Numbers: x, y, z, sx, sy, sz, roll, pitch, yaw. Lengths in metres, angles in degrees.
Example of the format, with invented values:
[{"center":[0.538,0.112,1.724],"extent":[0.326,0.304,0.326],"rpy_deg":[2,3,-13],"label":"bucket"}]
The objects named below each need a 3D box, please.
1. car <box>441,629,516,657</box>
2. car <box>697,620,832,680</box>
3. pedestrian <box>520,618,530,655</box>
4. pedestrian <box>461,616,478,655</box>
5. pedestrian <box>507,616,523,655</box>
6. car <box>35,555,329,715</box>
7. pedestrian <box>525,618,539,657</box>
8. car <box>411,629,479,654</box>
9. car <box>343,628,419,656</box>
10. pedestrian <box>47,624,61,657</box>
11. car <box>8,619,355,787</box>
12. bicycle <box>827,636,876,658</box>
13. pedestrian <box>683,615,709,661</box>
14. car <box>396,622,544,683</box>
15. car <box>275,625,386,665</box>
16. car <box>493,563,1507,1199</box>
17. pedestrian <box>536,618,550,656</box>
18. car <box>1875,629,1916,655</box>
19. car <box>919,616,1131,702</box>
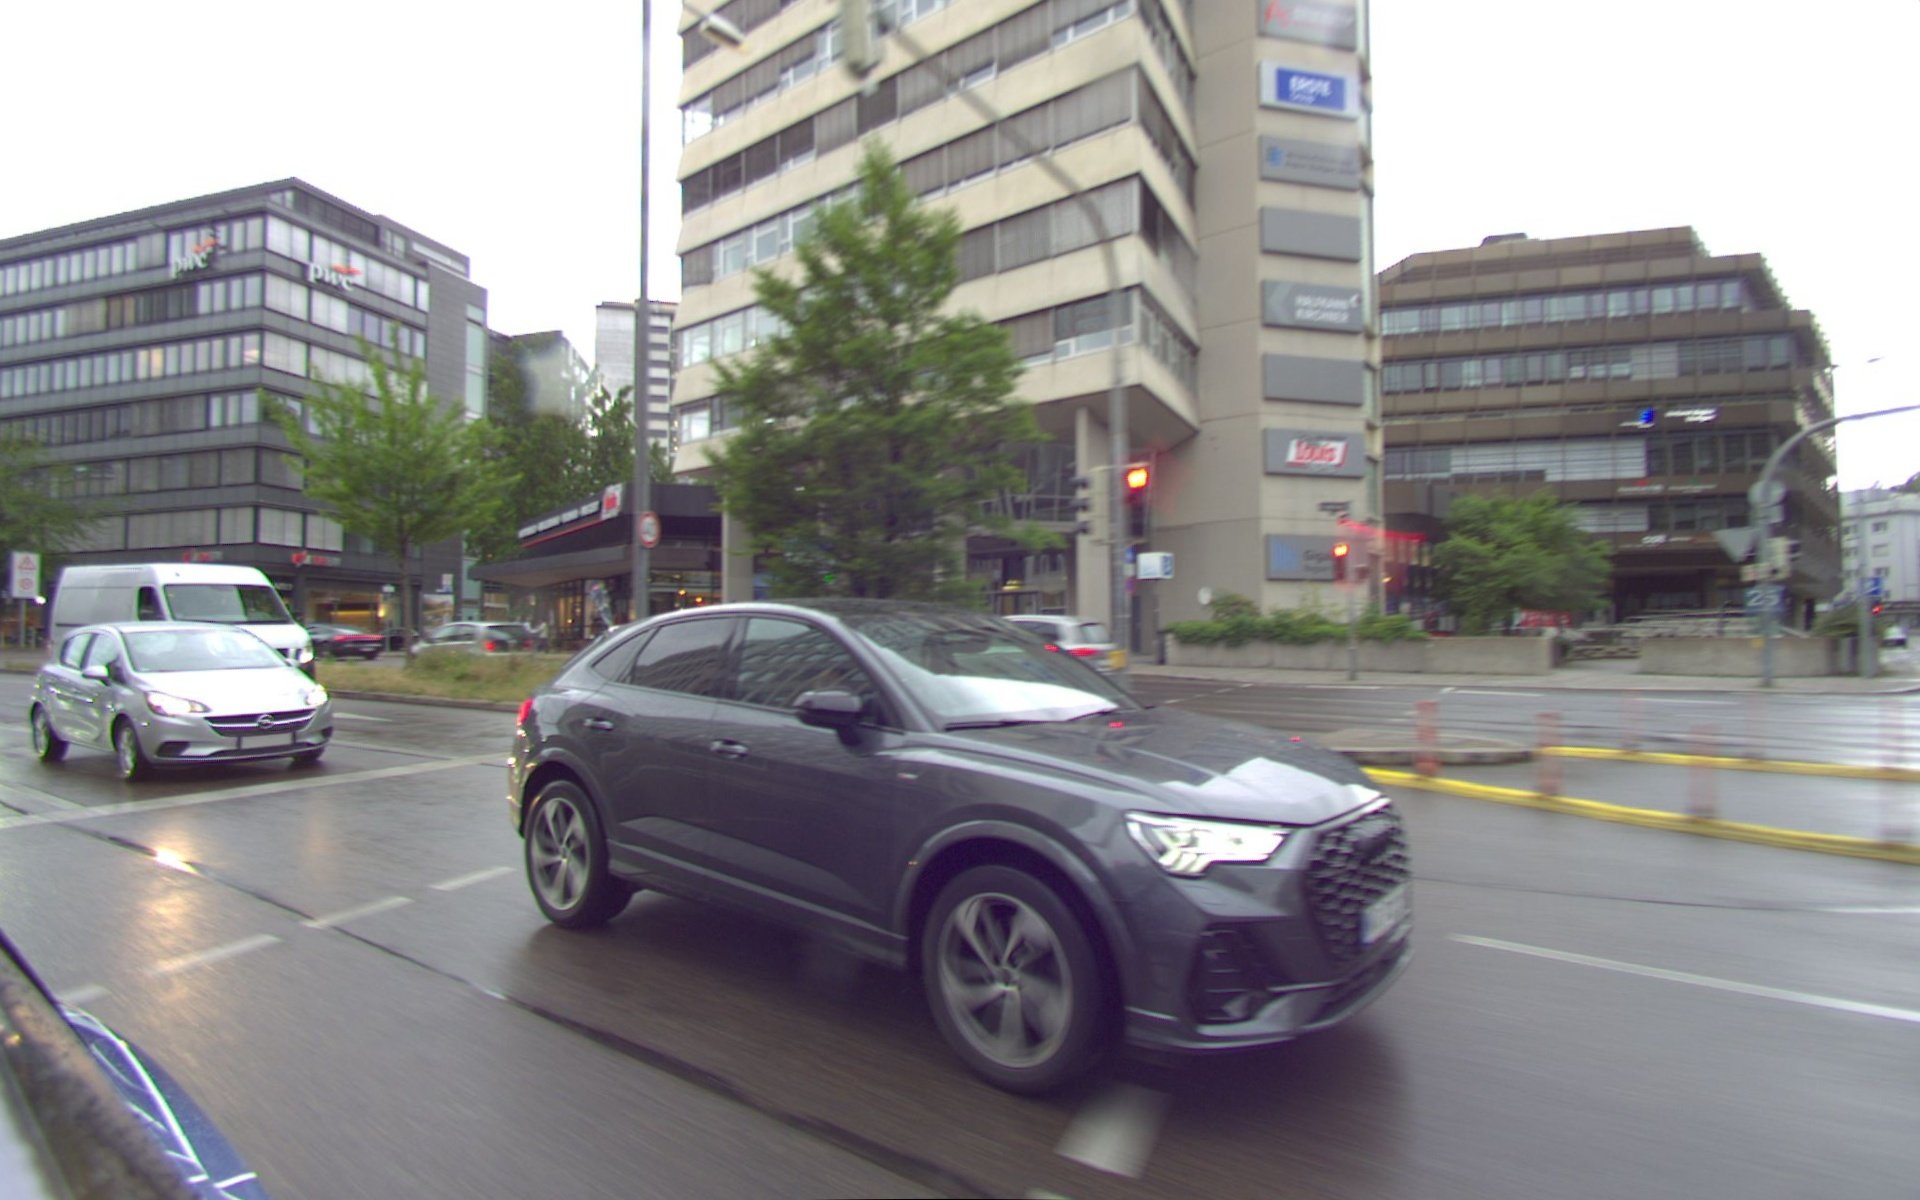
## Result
[{"center":[-27.832,2.463,58.607],"extent":[1.835,1.597,3.740],"rpy_deg":[-1,-2,19],"label":"car"},{"center":[-5.683,1.394,29.323],"extent":[3.703,1.583,1.627],"rpy_deg":[0,-1,30],"label":"car"},{"center":[-20.662,1.728,48.052],"extent":[0.358,1.785,0.323],"rpy_deg":[-2,-2,41],"label":"pedestrian"},{"center":[-22.779,1.643,46.999],"extent":[0.550,1.785,0.529],"rpy_deg":[-2,-2,41],"label":"pedestrian"},{"center":[-20.322,1.615,46.239],"extent":[0.404,1.785,0.549],"rpy_deg":[-2,-2,41],"label":"pedestrian"},{"center":[-13.621,0.583,17.651],"extent":[5.453,2.459,1.935],"rpy_deg":[-1,-1,27],"label":"car"},{"center":[-19.866,1.720,46.941],"extent":[0.469,1.785,0.423],"rpy_deg":[-2,-2,41],"label":"pedestrian"},{"center":[-33.526,2.675,66.017],"extent":[1.835,1.597,3.740],"rpy_deg":[-1,-2,19],"label":"car"},{"center":[-35.067,2.526,61.421],"extent":[1.835,1.597,3.740],"rpy_deg":[-1,-2,19],"label":"car"},{"center":[-55.657,2.465,62.164],"extent":[0.294,2.029,0.538],"rpy_deg":[-1,-2,17],"label":"pedestrian"},{"center":[-8.137,0.932,10.507],"extent":[3.862,1.447,1.635],"rpy_deg":[-1,-1,32],"label":"car"},{"center":[-4.710,2.033,43.915],"extent":[2.177,0.866,0.456],"rpy_deg":[0,-1,23],"label":"bicycle"},{"center":[-9.873,1.417,37.903],"extent":[0.753,1.696,0.678],"rpy_deg":[0,-2,5],"label":"pedestrian"},{"center":[-12.588,1.284,25.935],"extent":[3.857,1.396,1.676],"rpy_deg":[0,-1,33],"label":"car"},{"center":[-24.435,1.711,39.254],"extent":[4.394,1.389,1.849],"rpy_deg":[0,-1,31],"label":"car"},{"center":[-0.178,0.718,4.388],"extent":[4.266,1.533,1.632],"rpy_deg":[-1,-1,39],"label":"car"},{"center":[-19.558,1.726,47.439],"extent":[0.469,1.785,0.423],"rpy_deg":[-2,-2,41],"label":"pedestrian"},{"center":[64.426,2.855,69.664],"extent":[3.939,1.641,1.785],"rpy_deg":[1,-1,-43],"label":"car"},{"center":[1.260,1.130,20.511],"extent":[4.078,1.593,1.629],"rpy_deg":[-1,-2,36],"label":"car"}]
